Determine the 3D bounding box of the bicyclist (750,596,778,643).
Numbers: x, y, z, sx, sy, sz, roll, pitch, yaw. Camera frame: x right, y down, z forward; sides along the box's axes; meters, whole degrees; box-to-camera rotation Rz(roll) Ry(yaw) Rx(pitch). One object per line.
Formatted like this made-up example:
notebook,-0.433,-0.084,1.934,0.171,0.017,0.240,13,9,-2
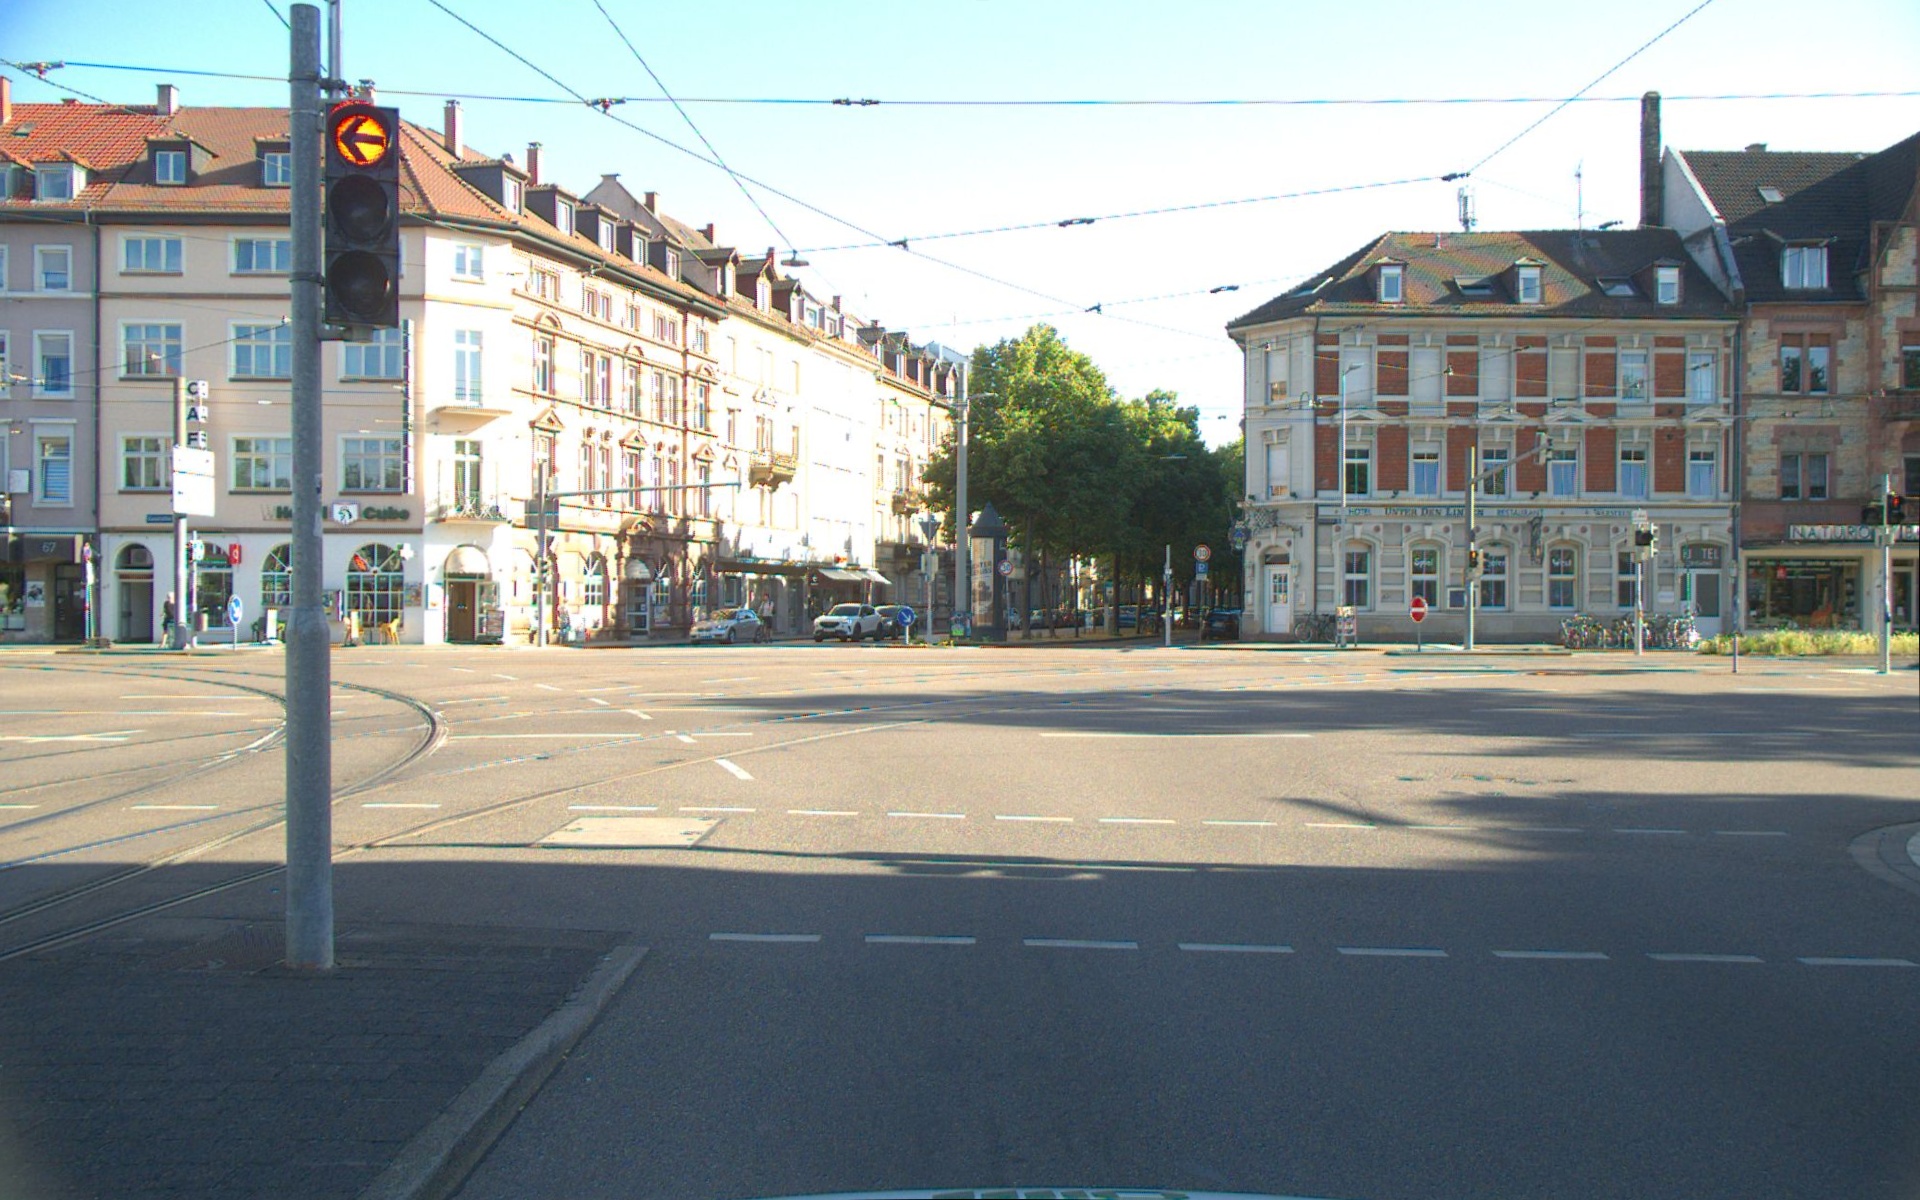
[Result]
bicyclist,-7.714,0.764,65.004,0.761,1.834,1.056,1,-1,13

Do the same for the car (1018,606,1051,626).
car,5.532,1.183,122.502,1.642,1.378,3.593,0,0,16

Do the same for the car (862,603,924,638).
car,-2.948,0.885,73.552,1.642,1.509,3.950,0,0,16

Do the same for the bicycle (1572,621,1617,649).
bicycle,20.482,1.122,53.456,0.645,0.855,2.160,1,0,0

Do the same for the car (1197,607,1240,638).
car,12.958,1.104,82.750,1.642,1.509,3.950,0,0,16

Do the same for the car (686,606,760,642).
car,-9.540,0.931,66.745,1.642,1.378,3.593,0,0,16

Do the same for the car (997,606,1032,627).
car,3.821,1.154,115.515,1.642,1.378,3.593,0,0,16

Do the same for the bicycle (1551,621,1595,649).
bicycle,19.762,1.109,53.368,0.645,0.855,2.160,1,0,0

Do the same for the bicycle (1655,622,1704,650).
bicycle,23.280,1.170,53.528,0.645,0.855,2.160,1,0,0

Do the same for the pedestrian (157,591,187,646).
pedestrian,-24.700,0.589,51.839,0.570,1.699,0.752,1,-1,-1

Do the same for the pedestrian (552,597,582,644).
pedestrian,-14.406,0.741,60.608,0.759,1.699,0.831,1,-1,15

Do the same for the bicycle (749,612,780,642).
bicycle,-7.680,1.045,65.127,0.687,1.137,1.636,1,0,13

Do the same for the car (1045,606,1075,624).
car,7.891,1.209,130.844,1.642,1.378,3.593,0,0,16

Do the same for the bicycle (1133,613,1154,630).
bicycle,11.052,1.293,99.628,0.625,1.039,1.840,1,0,-14

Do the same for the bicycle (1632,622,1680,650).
bicycle,22.492,1.156,53.482,0.645,0.855,2.160,1,0,0

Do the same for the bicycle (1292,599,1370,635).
bicycle,12.867,0.589,57.458,2.504,1.194,0.818,1,-1,-4

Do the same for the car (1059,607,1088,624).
car,9.316,1.245,135.896,1.642,1.378,3.593,0,0,16

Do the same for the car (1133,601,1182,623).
car,15.318,0.955,128.248,3.503,1.677,1.684,0,0,16

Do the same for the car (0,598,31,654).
car,-32.151,0.787,52.257,4.276,1.741,2.306,1,0,1

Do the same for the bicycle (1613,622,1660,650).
bicycle,21.864,1.146,53.503,0.645,0.855,2.160,1,0,0

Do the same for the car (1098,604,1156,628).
car,11.714,1.112,115.835,3.819,1.677,1.684,0,0,16

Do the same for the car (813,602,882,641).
car,-4.535,0.841,67.227,1.642,1.509,3.774,0,0,16

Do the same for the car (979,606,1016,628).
car,2.564,1.135,111.340,1.642,1.378,3.593,0,0,16

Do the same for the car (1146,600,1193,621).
car,16.941,0.880,133.747,3.503,1.677,1.684,0,0,16

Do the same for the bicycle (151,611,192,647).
bicycle,-24.705,0.888,51.831,0.561,1.096,1.497,1,0,-1

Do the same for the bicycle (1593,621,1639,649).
bicycle,21.193,1.134,53.469,0.645,0.855,2.160,1,0,0
